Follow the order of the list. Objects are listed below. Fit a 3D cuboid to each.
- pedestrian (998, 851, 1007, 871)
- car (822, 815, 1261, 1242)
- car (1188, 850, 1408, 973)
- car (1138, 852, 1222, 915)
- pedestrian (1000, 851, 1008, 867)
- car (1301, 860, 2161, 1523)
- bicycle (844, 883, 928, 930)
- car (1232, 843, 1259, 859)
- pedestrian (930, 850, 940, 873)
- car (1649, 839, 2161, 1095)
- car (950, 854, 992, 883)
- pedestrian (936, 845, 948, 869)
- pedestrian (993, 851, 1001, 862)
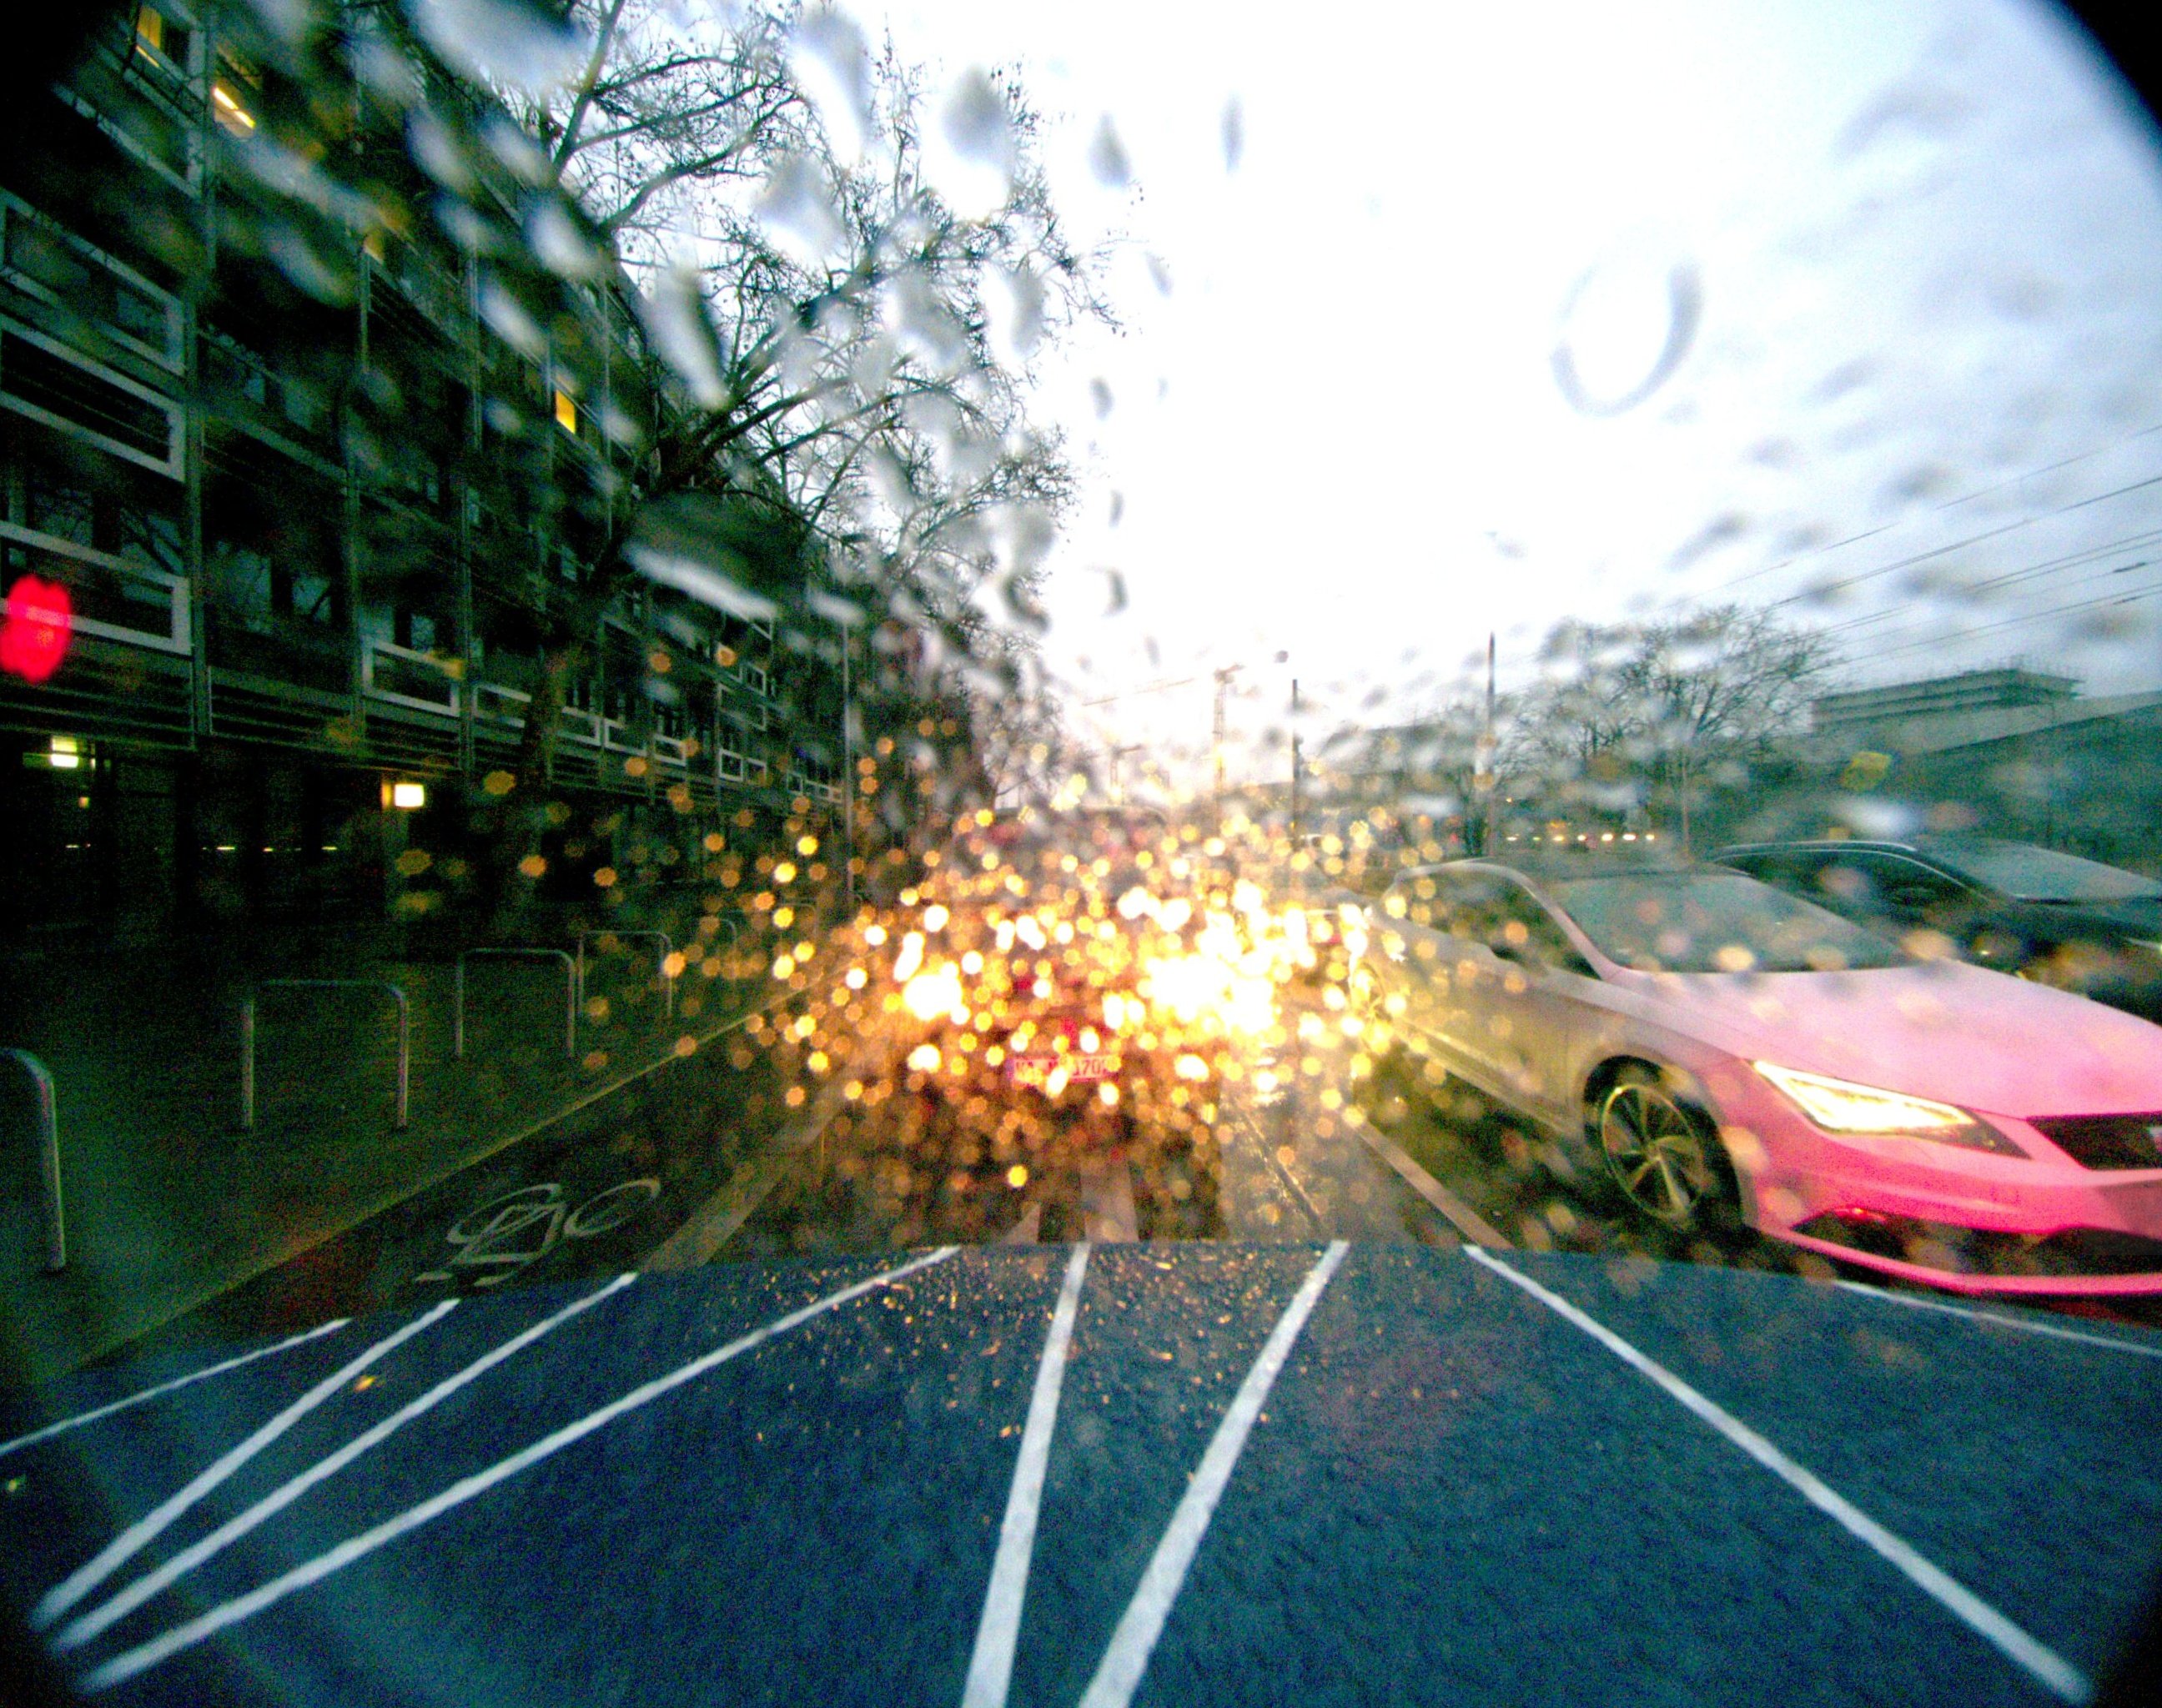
[{"bbox_3d":[-7.045,0.607,68.229,0.766,1.740,0.928,0,1,-4],"label":"pedestrian"},{"bbox_3d":[-0.184,0.756,5.379,1.878,1.830,3.999,-2,1,0],"label":"car"},{"bbox_3d":[2.987,0.700,11.581,1.999,1.478,4.505,-1,0,-1],"label":"car"},{"bbox_3d":[2.735,0.767,21.890,1.907,1.565,3.999,-2,1,1],"label":"car"},{"bbox_3d":[-8.137,0.533,80.452,0.766,1.740,0.928,0,1,-4],"label":"pedestrian"},{"bbox_3d":[2.978,0.839,4.148,1.949,1.478,4.504,-2,0,-4],"label":"car"},{"bbox_3d":[-4.501,1.207,17.592,1.704,0.987,0.879,1,1,0],"label":"bicycle"},{"bbox_3d":[20.491,-0.369,94.554,2.095,1.884,3.997,-1,1,-7],"label":"car"},{"bbox_3d":[-12.513,0.607,65.204,0.699,1.968,0.928,0,1,1],"label":"pedestrian"},{"bbox_3d":[7.339,0.647,6.204,1.853,1.499,4.662,-1,1,-1],"label":"car"},{"bbox_3d":[-6.250,0.793,43.427,1.713,1.455,3.999,-2,1,1],"label":"car"},{"bbox_3d":[-13.006,0.294,71.089,1.062,2.182,1.110,-2,1,-11],"label":"pedestrian"},{"bbox_3d":[-10.285,0.304,92.916,0.782,1.330,0.751,-2,1,1],"label":"pedestrian"}]
